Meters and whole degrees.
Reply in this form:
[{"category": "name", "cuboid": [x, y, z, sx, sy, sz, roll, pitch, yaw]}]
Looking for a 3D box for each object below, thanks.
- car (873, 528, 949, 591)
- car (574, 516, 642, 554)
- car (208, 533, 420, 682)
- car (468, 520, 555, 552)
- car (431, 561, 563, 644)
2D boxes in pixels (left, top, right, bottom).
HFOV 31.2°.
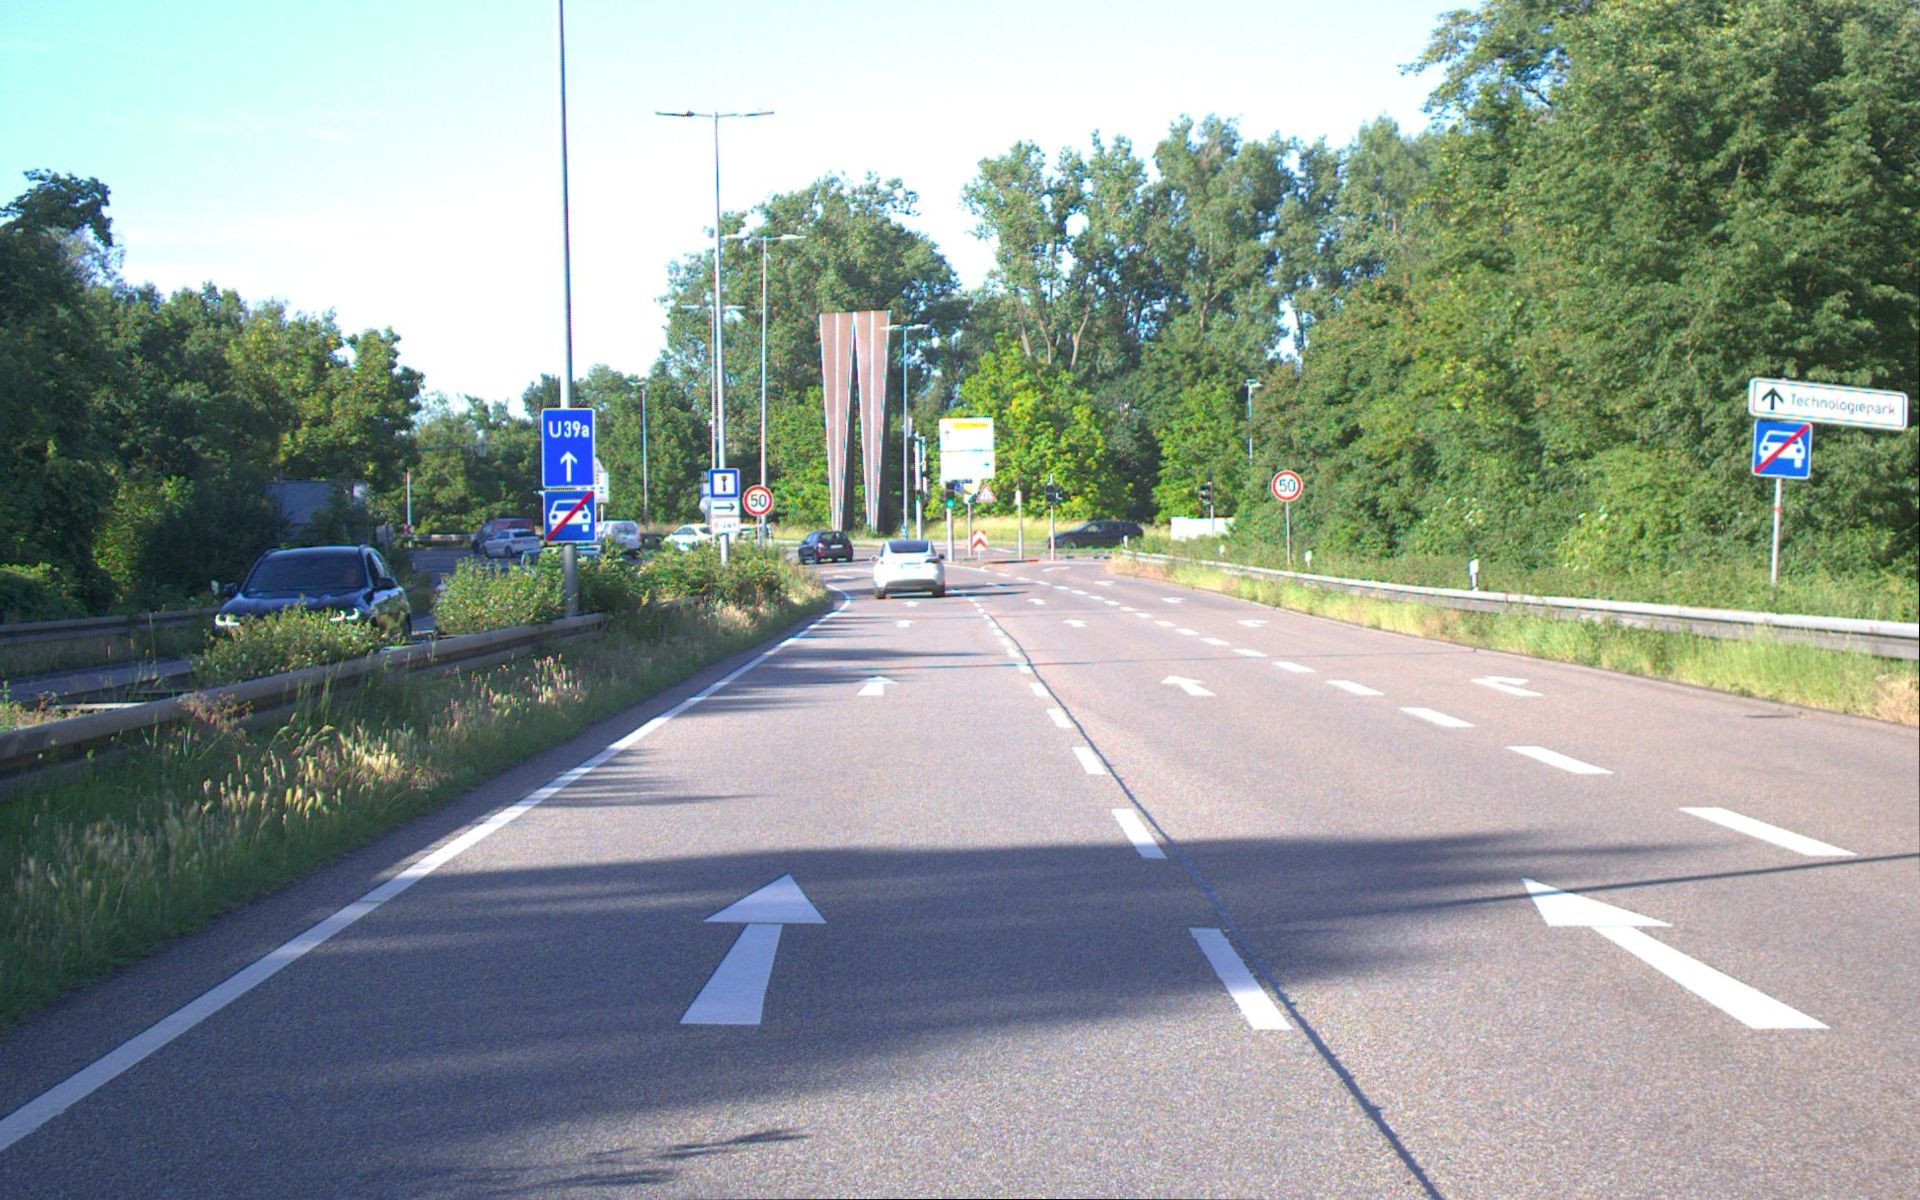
[{"category": "car", "cuboid": [-1.404, -1.165, 96.651, 1.993, 1.634, 4.129, -2, 2, -2]}, {"category": "car", "cuboid": [-16.861, -3.113, 164.415, 1.968, 1.692, 4.001, -2, 2, -26]}, {"category": "car", "cuboid": [-7.932, 0.048, 42.607, 1.785, 1.704, 4.547, -1, 1, -1]}, {"category": "car", "cuboid": [-22.552, -3.203, 172.745, 3.997, 1.503, 2.268, 0, 1, 42]}, {"category": "car", "cuboid": [-8.211, 0.020, 61.276, 1.773, 1.352, 4.462, -1, 1, -1]}]
